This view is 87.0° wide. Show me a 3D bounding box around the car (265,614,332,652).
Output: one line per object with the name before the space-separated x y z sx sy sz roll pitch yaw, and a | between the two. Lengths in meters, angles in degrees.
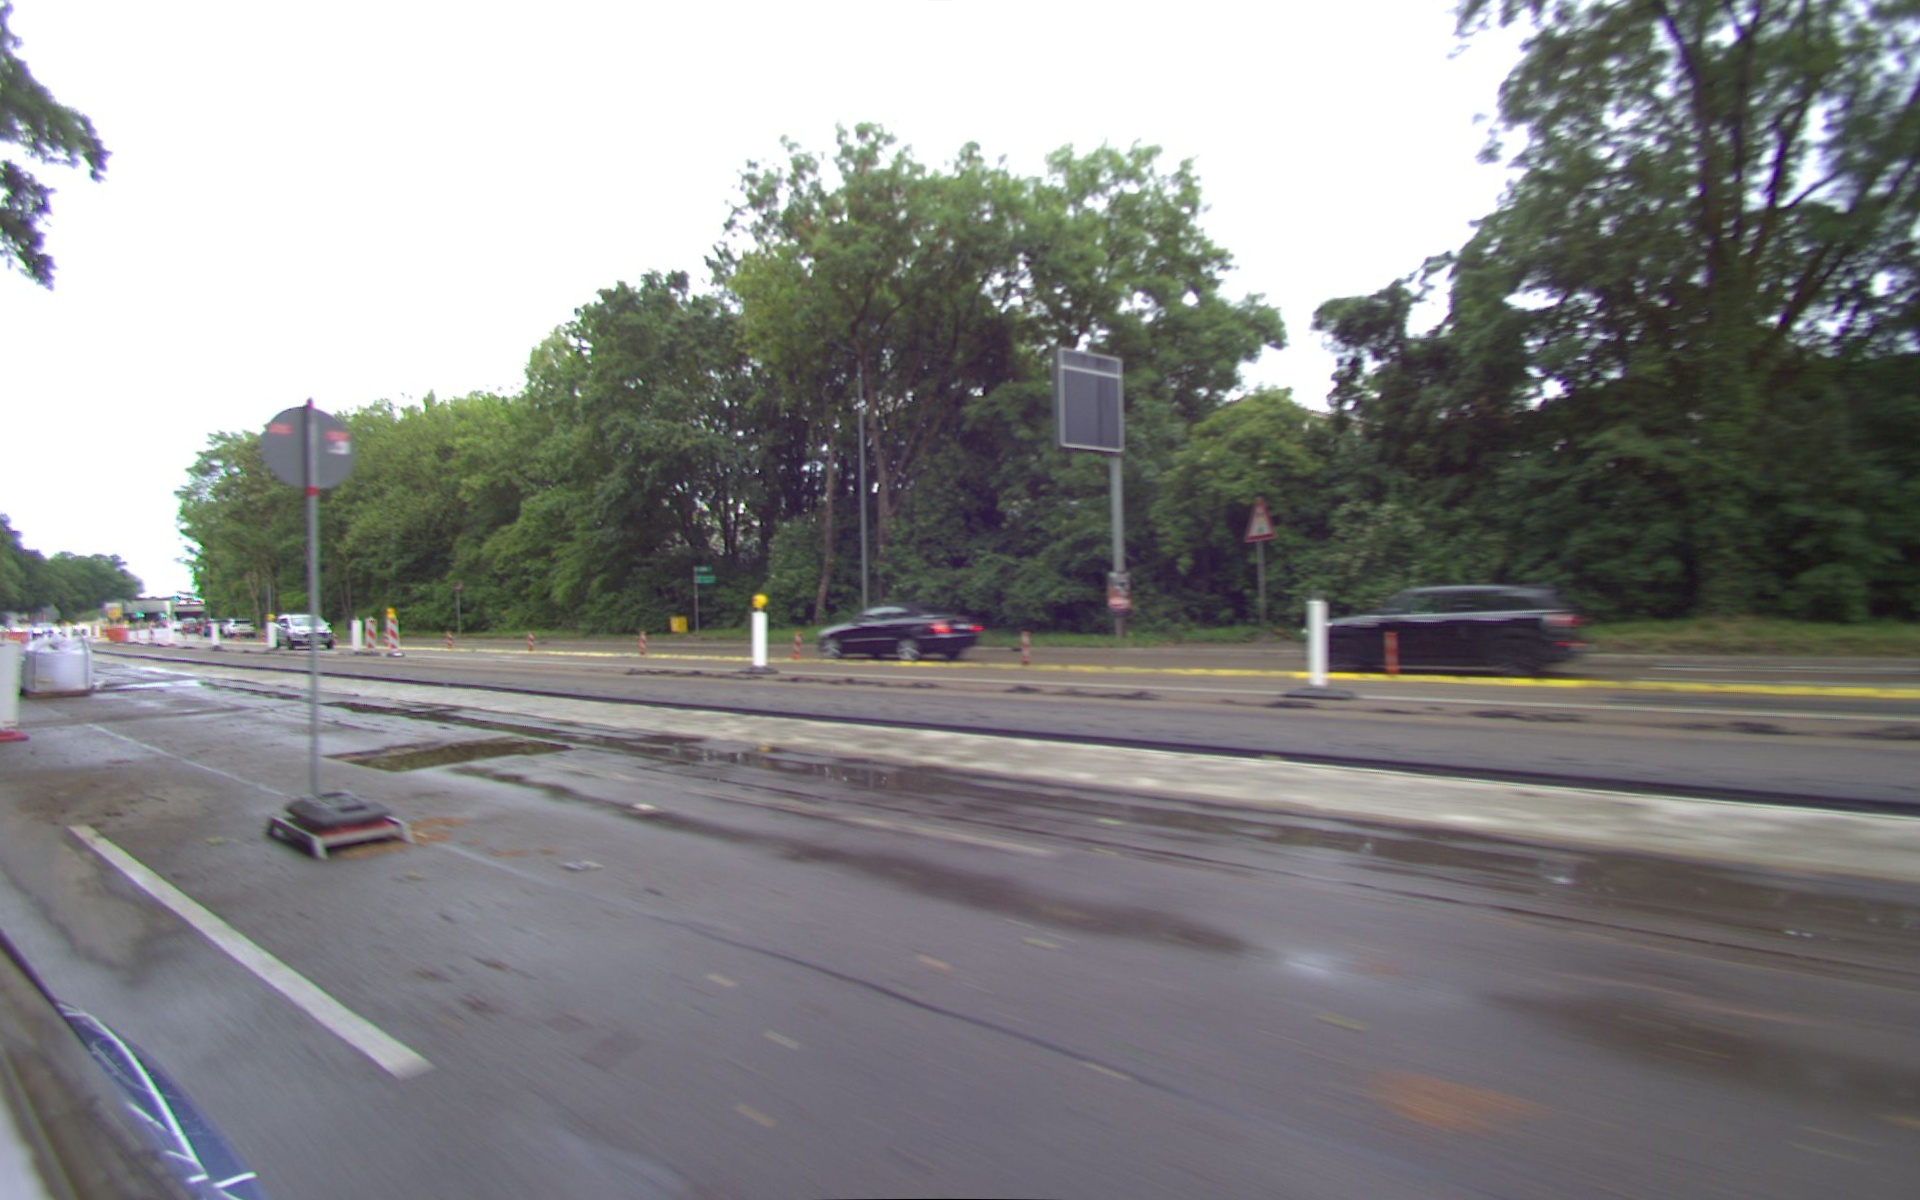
car | -30.288 1.494 46.282 3.862 1.596 1.769 -2 0 45

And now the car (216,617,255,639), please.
car | -61.758 2.386 86.284 4.378 1.764 1.758 -2 -1 41

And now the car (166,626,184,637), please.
car | -108.015 4.322 139.263 1.762 1.437 4.476 -1 -1 -40

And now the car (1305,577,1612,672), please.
car | 8.074 0.408 16.602 4.201 1.366 1.799 -2 -2 40

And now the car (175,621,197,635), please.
car | -89.639 3.249 117.230 1.762 1.463 4.689 -1 -1 -40

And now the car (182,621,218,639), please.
car | -72.505 2.825 96.505 4.913 1.676 1.758 -2 -2 41

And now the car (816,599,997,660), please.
car | -1.365 0.717 24.725 4.386 1.366 1.799 -2 -2 40
